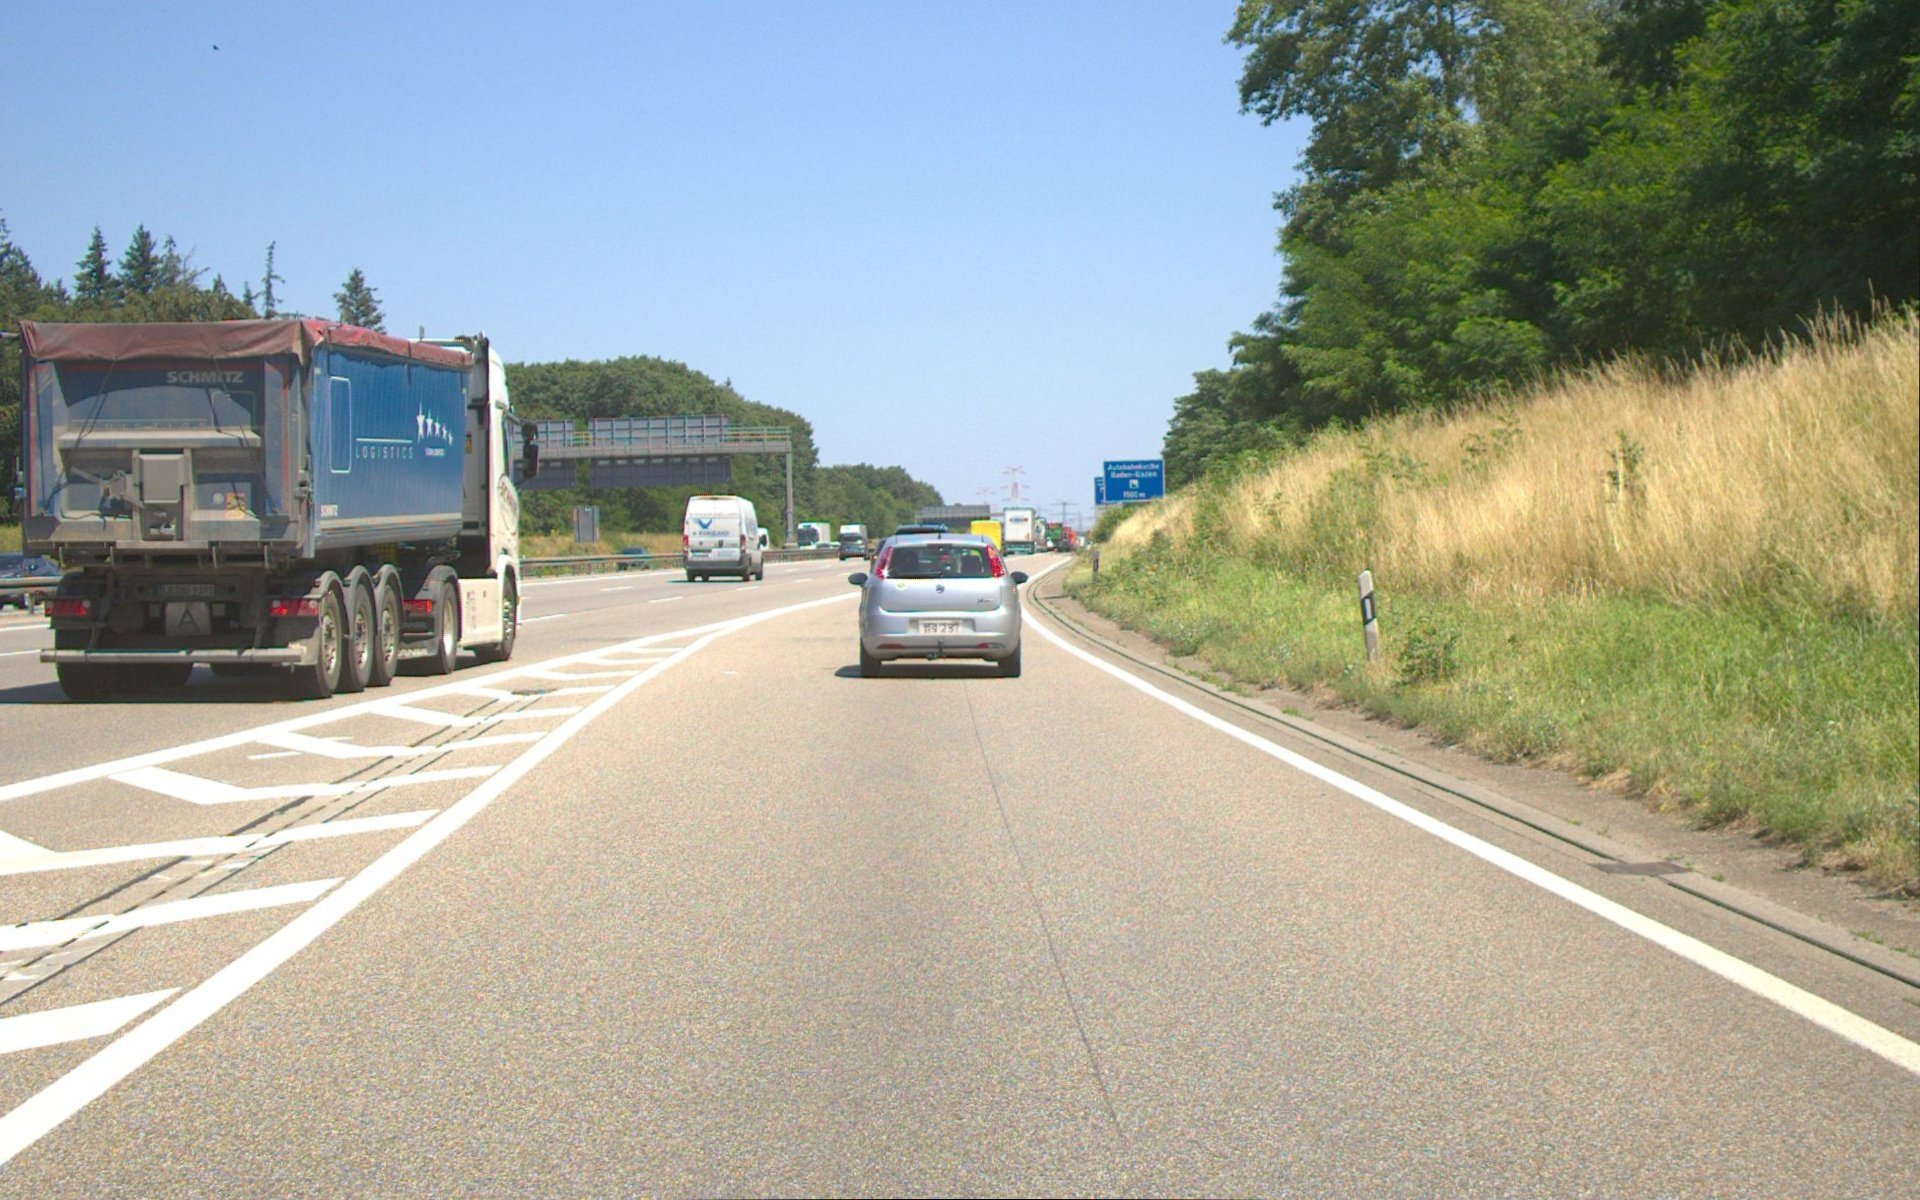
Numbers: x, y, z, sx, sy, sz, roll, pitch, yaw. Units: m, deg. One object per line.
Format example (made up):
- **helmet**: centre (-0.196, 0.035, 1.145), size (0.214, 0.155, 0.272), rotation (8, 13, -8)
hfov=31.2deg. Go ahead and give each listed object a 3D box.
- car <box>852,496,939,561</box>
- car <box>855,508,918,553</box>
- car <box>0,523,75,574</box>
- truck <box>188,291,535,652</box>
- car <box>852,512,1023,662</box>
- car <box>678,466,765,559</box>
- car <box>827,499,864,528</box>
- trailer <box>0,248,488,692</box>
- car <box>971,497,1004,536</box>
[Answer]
- **car**: centre (-1.664, -1.871, 90.338), size (1.832, 1.666, 3.999), rotation (1, 1, 6)
- **car**: centre (-2.391, -2.298, 113.039), size (1.894, 1.464, 4.261), rotation (0, 2, 1)
- **car**: centre (-25.617, -1.423, 94.377), size (1.563, 1.351, 3.567), rotation (-1, 1, 3)
- **truck**: centre (-6.625, -1.427, 38.912), size (2.684, 3.745, 5.944), rotation (-1, 2, 2)
- **car**: centre (-0.217, -0.179, 36.457), size (1.719, 1.486, 3.737), rotation (0, 2, 0)
- **car**: centre (-7.817, -2.879, 113.149), size (2.260, 2.940, 6.114), rotation (0, 1, 2)
- **car**: centre (-7.357, -5.561, 220.989), size (2.157, 1.808, 4.860), rotation (0, 2, 0)
- **trailer**: centre (-6.782, -1.241, 33.810), size (2.737, 3.745, 9.109), rotation (-1, 2, 2)
- **car**: centre (1.443, -4.337, 178.556), size (1.611, 2.007, 4.000), rotation (0, 1, 2)
